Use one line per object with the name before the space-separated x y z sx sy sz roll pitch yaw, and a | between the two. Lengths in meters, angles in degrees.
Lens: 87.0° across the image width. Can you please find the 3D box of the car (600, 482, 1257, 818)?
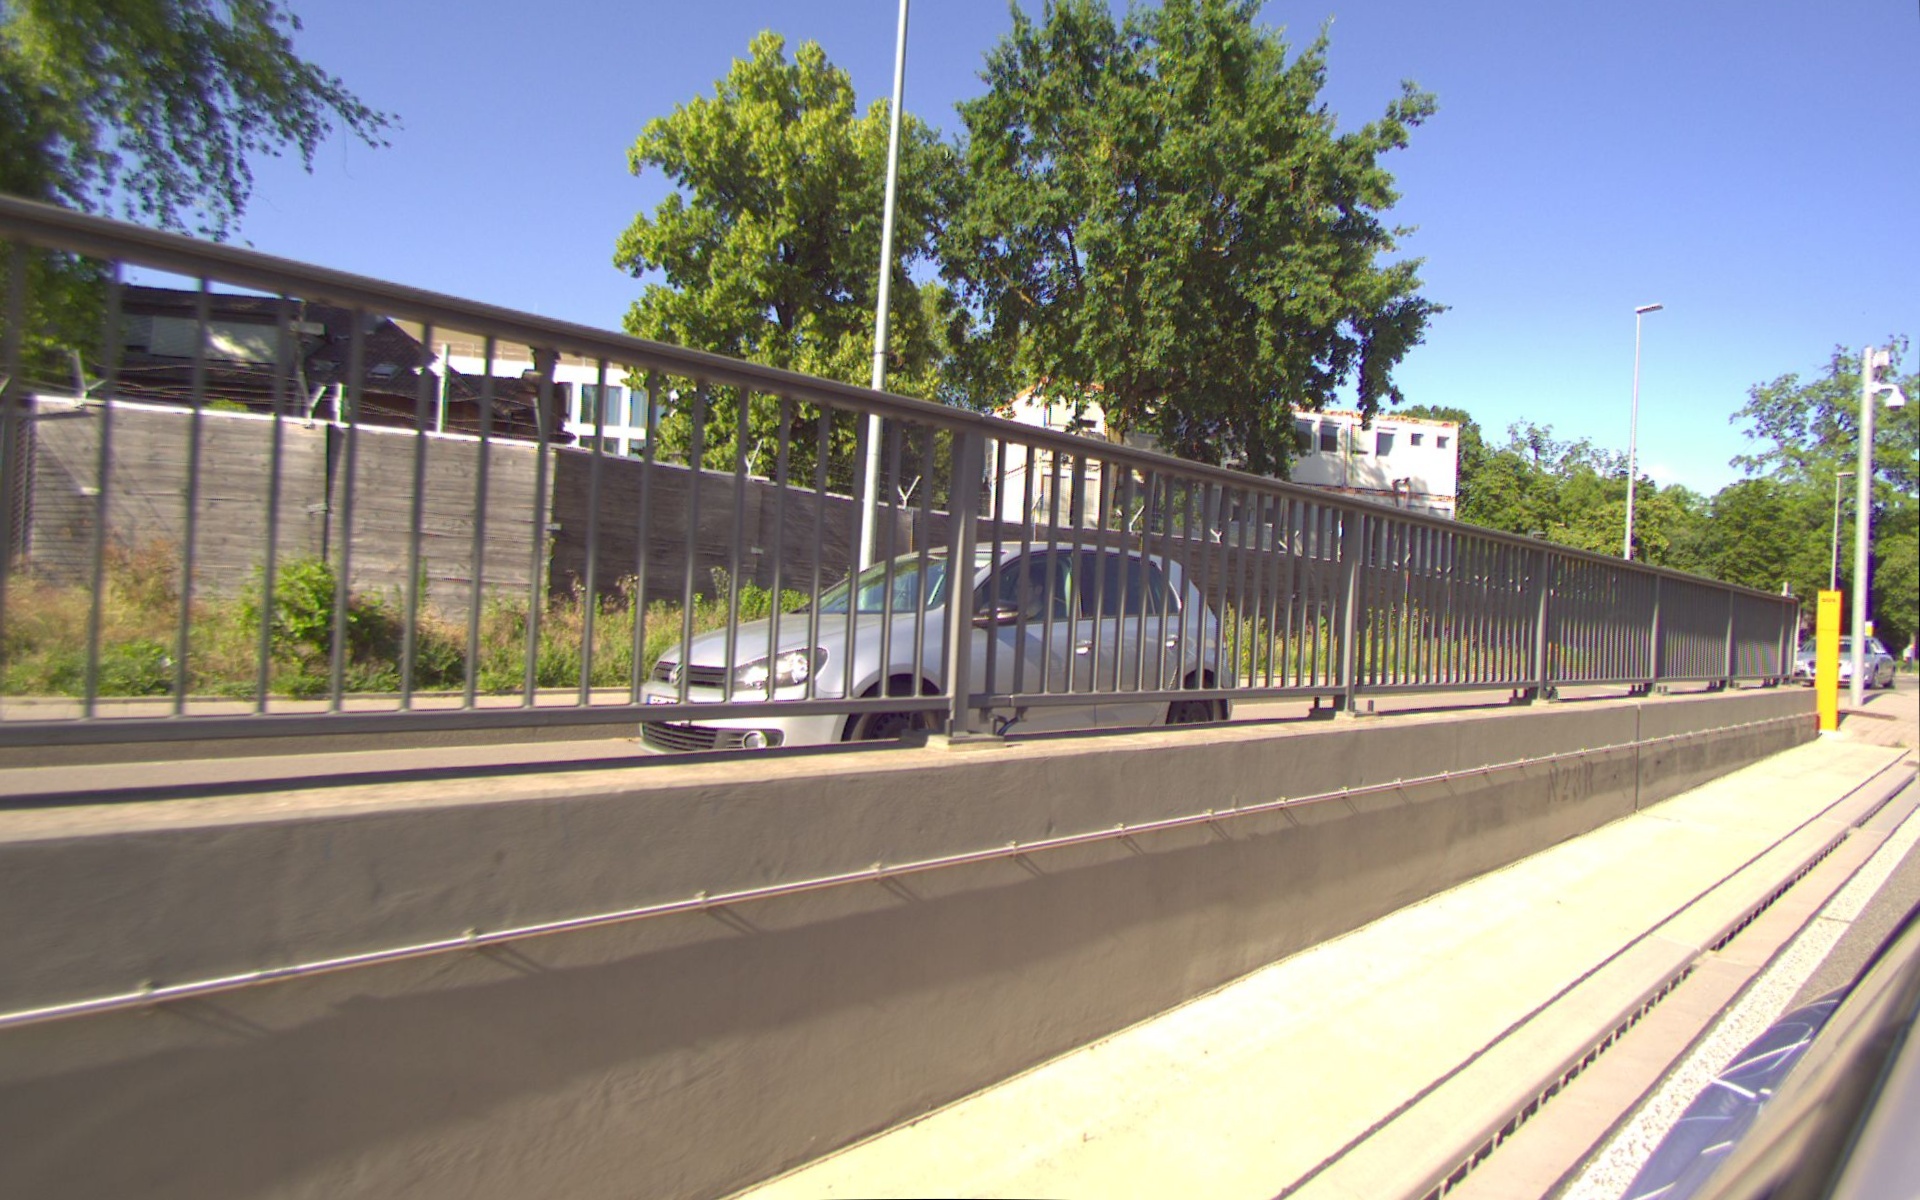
car | 0.021 0.254 6.298 3.903 1.453 1.670 2 -1 -41

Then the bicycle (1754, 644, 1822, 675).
bicycle | 30.328 2.163 37.085 1.854 0.912 0.485 5 1 40

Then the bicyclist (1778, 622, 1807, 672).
bicyclist | 30.446 1.717 37.033 0.697 1.731 0.650 5 1 39

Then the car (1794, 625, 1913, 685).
car | 24.205 1.466 27.371 4.222 1.419 1.837 3 -1 -40
